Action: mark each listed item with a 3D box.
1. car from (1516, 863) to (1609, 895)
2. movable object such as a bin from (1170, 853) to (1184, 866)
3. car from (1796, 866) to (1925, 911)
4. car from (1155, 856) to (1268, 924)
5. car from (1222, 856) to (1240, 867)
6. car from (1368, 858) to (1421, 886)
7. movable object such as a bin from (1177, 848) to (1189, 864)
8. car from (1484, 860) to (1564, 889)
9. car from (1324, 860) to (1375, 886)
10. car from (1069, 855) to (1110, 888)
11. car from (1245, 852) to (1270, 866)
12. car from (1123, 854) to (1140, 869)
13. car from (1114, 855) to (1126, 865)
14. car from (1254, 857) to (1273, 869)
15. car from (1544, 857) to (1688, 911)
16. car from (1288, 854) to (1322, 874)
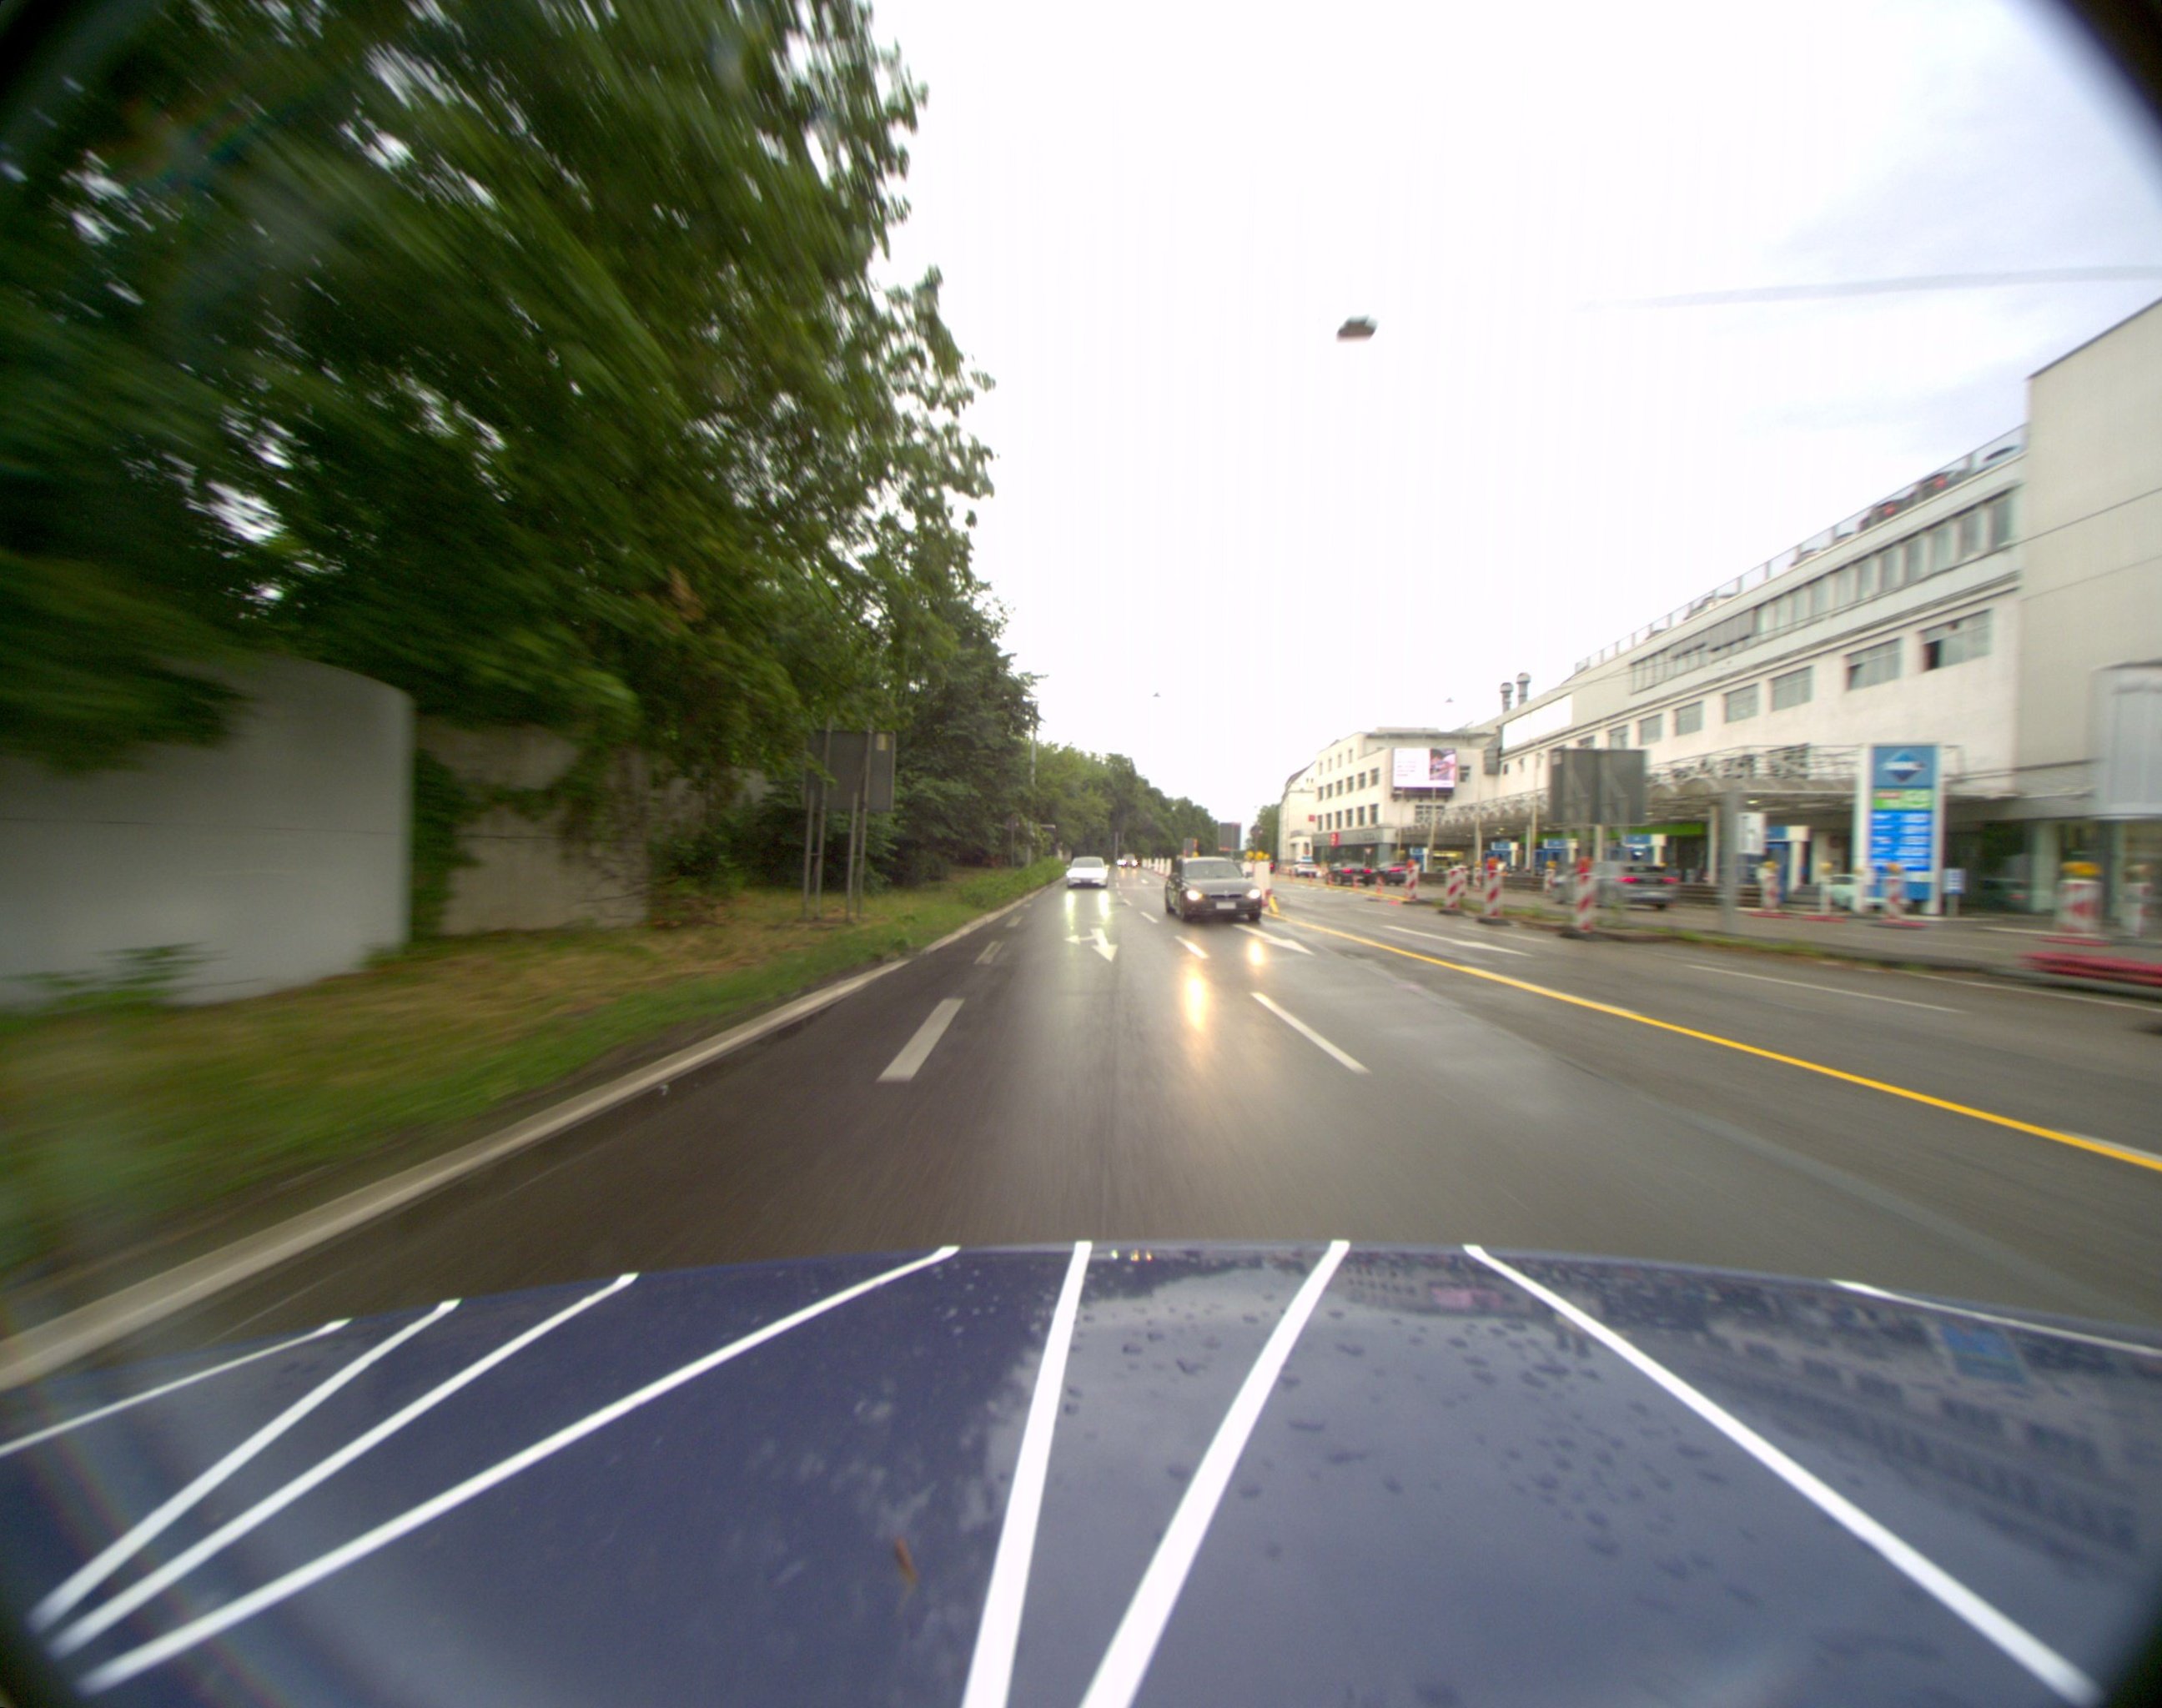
[{"bbox_3d":[30.018,1.535,47.445,4.465,1.669,2.019,3,1,44],"label":"car"},{"bbox_3d":[17.200,0.990,135.990,1.996,2.099,3.853,3,0,11],"label":"movable object such as a bin"},{"bbox_3d":[31.224,1.335,30.613,1.655,1.526,3.758,3,1,9],"label":"car"},{"bbox_3d":[3.031,0.791,18.504,1.764,1.441,4.176,1,0,-4],"label":"car"},{"bbox_3d":[21.285,1.051,107.890,1.963,1.512,4.301,2,0,3],"label":"car"},{"bbox_3d":[19.260,1.089,46.853,1.756,1.505,4.000,2,1,3],"label":"car"},{"bbox_3d":[18.938,0.406,141.477,1.825,2.895,3.611,3,0,11],"label":"movable object such as a bin"},{"bbox_3d":[31.224,1.443,53.628,4.431,1.760,1.972,3,1,44],"label":"car"},{"bbox_3d":[15.632,1.073,44.446,1.692,1.346,4.116,2,1,4],"label":"car"},{"bbox_3d":[0.465,0.804,36.914,1.839,1.424,4.273,0,0,2],"label":"car"},{"bbox_3d":[18.091,0.497,77.898,1.739,1.396,4.290,1,0,2],"label":"car"},{"bbox_3d":[6.452,0.975,96.377,1.998,1.740,4.001,2,1,5],"label":"car"},{"bbox_3d":[6.084,0.986,119.289,1.741,1.477,3.919,-1,0,5],"label":"car"},{"bbox_3d":[24.321,1.149,101.282,1.714,1.527,4.078,2,0,3],"label":"car"},{"bbox_3d":[17.354,0.906,24.937,1.812,1.549,4.301,1,0,3],"label":"car"},{"bbox_3d":[21.128,0.912,71.909,1.984,1.697,4.832,2,0,2],"label":"car"}]
